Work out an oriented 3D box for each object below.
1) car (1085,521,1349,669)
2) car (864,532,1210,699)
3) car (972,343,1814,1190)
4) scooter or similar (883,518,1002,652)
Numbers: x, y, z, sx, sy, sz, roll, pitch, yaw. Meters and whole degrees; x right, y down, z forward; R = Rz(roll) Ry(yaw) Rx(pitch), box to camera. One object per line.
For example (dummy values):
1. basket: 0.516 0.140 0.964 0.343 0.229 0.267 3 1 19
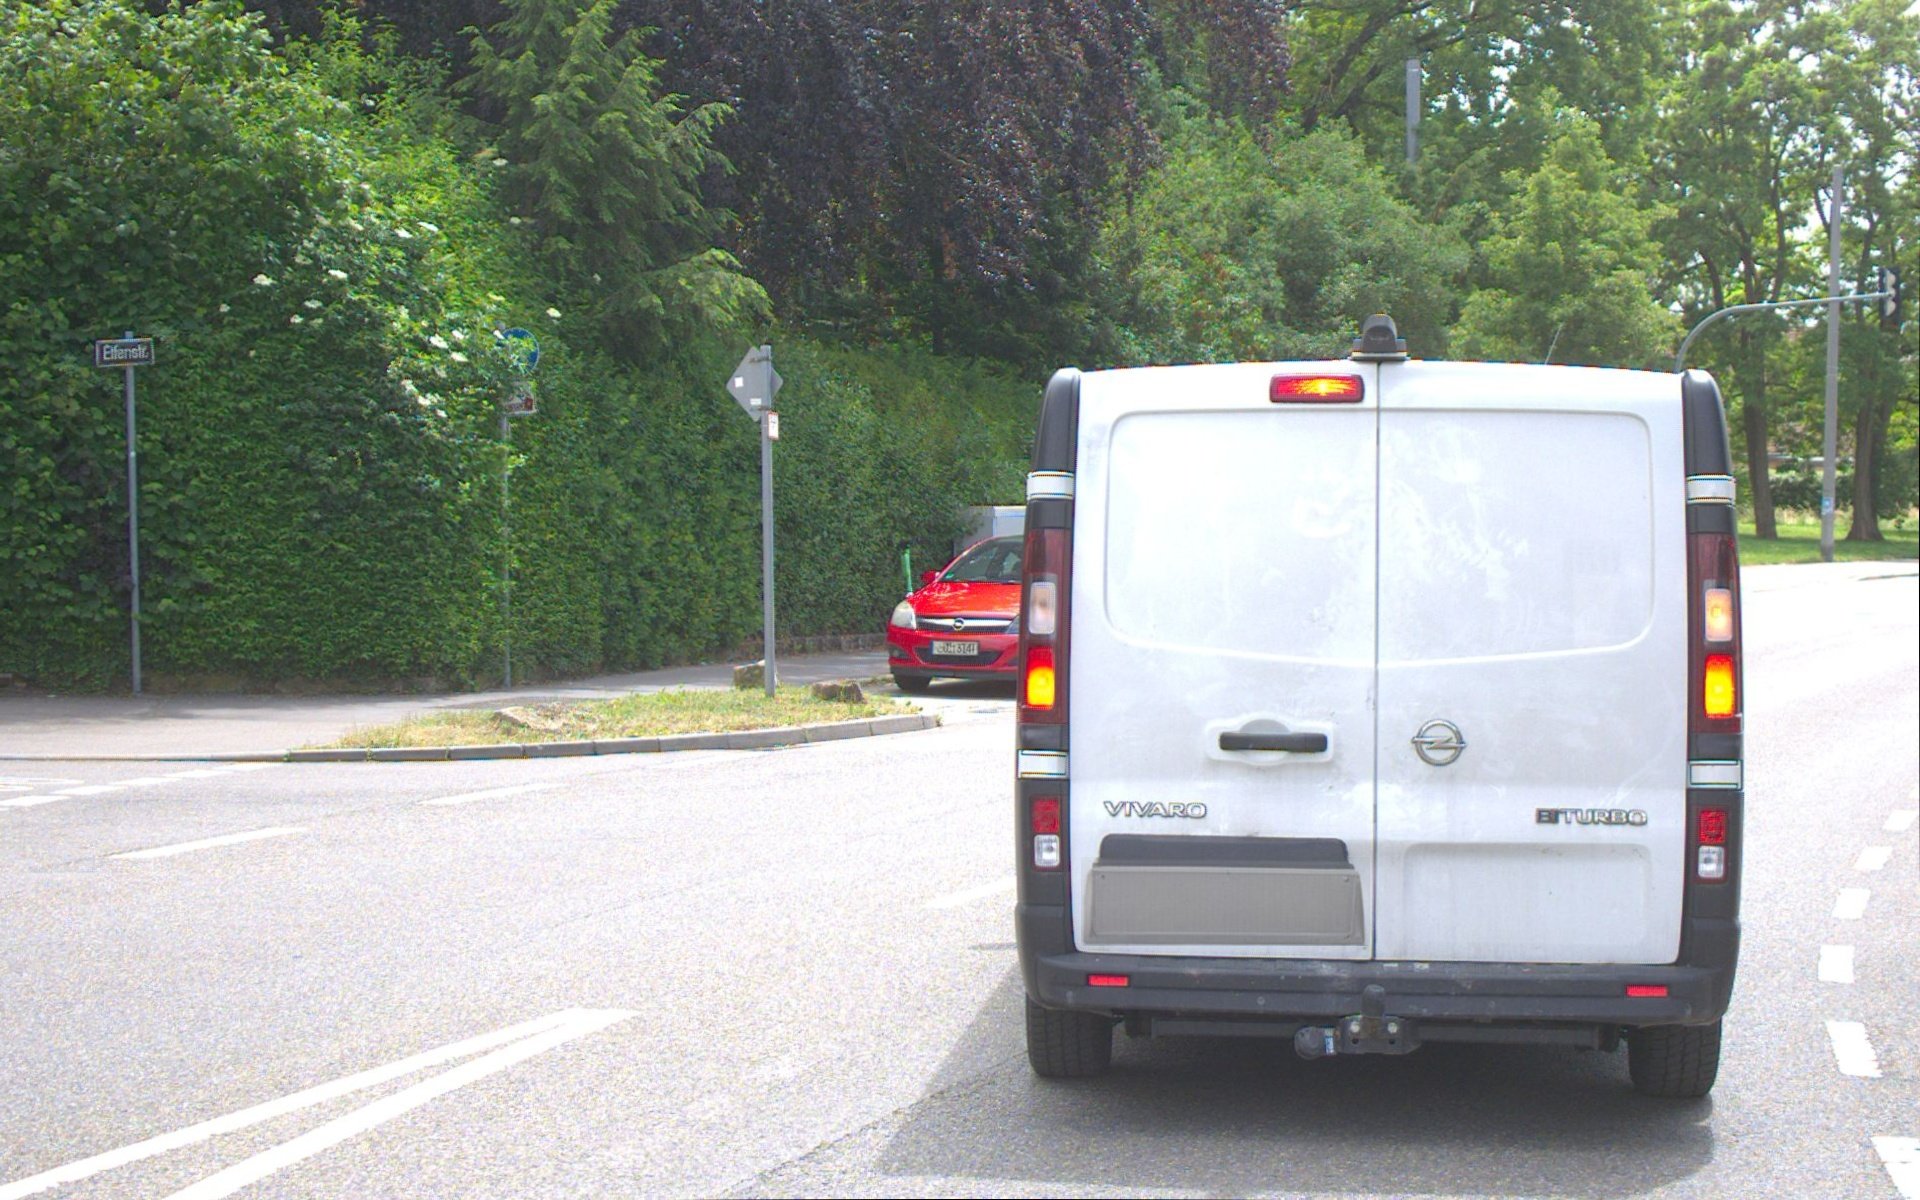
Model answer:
1. car: 2.795 -0.103 36.607 1.651 1.445 4.101 2 2 21
2. car: 0.798 0.080 31.700 1.662 1.373 4.561 2 2 22
3. car: 1.347 0.302 10.580 1.939 1.954 4.832 2 2 8
4. scooter or similar: -0.177 -0.178 37.419 0.671 1.407 1.647 2 2 23
